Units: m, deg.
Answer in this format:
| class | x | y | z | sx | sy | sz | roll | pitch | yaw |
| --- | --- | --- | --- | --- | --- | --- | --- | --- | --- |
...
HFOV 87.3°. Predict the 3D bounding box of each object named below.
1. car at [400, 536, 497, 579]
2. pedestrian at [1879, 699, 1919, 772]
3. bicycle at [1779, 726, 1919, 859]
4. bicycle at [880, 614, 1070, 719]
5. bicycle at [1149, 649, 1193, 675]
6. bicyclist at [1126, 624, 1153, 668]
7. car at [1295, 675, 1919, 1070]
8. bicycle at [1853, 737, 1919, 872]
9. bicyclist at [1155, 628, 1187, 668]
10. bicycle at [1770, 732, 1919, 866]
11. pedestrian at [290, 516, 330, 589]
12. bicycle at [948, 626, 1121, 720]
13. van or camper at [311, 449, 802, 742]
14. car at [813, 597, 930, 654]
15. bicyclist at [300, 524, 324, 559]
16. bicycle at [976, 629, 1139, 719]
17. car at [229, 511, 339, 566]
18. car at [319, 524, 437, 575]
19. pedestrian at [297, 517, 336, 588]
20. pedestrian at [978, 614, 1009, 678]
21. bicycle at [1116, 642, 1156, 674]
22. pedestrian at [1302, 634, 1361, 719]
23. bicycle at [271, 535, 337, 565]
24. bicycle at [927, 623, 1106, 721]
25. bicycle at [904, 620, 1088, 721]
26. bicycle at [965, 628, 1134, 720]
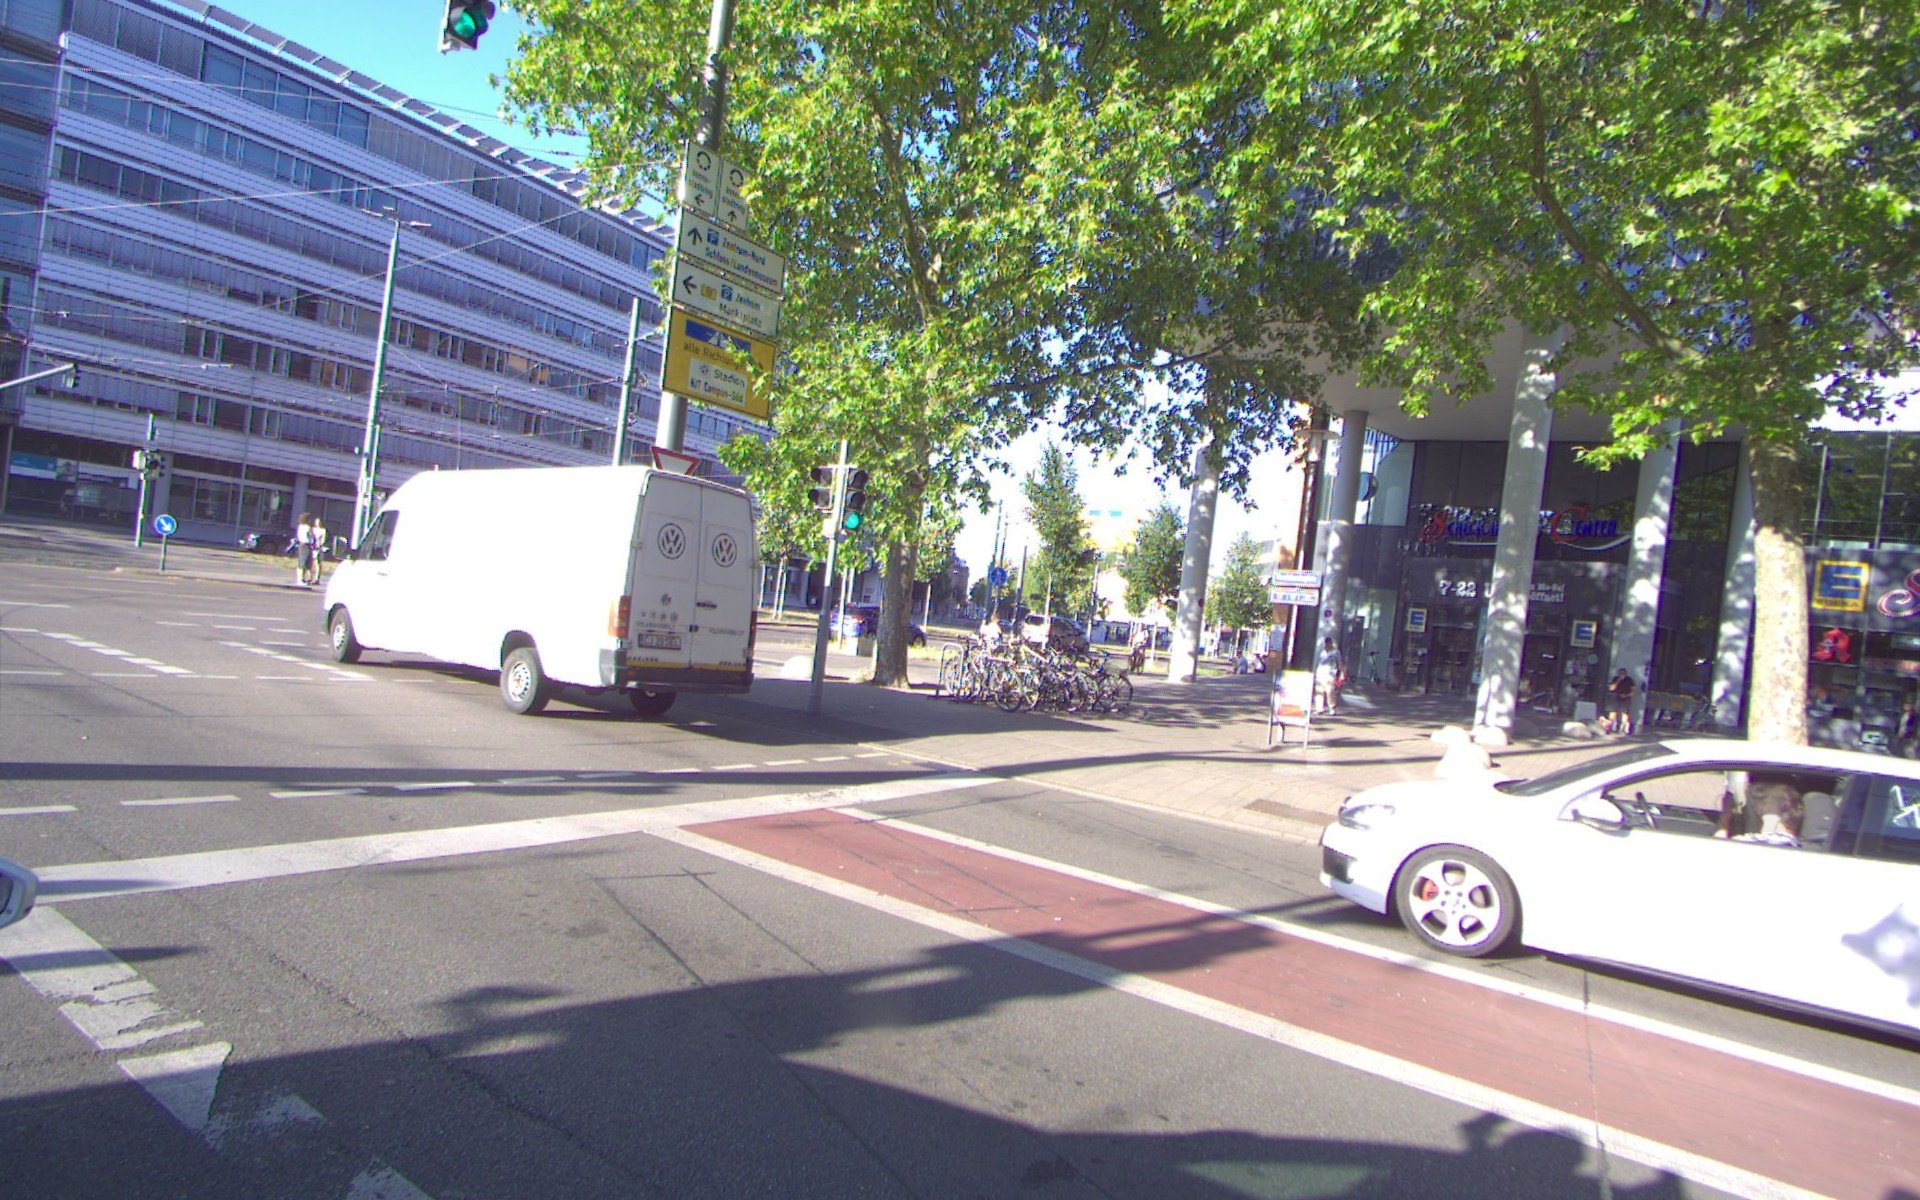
| class | x | y | z | sx | sy | sz | roll | pitch | yaw |
| --- | --- | --- | --- | --- | --- | --- | --- | --- | --- |
| car | -26.384 | -2.165 | 51.960 | 1.769 | 1.569 | 3.990 | 6 | -2 | 36 |
| pedestrian | 24.398 | 3.486 | 25.879 | 0.824 | 1.765 | 0.644 | 7 | 1 | 32 |
| bicycle | 11.502 | 2.405 | 11.007 | 3.757 | 1.235 | 0.727 | 10 | 1 | 38 |
| bicycle | 0.191 | 1.013 | 15.713 | 2.896 | 1.252 | 0.705 | 6 | -1 | 31 |
| bicycle | 8.643 | 2.544 | 41.208 | 0.738 | 0.964 | 2.089 | 7 | 1 | 41 |
| bicyclist | 6.373 | 1.632 | 35.740 | 0.583 | 1.504 | 0.749 | 6 | 2 | 30 |
| car | 4.210 | 1.453 | 5.835 | 3.920 | 1.445 | 1.638 | 7 | -1 | 31 |
| bicycle | 10.161 | 2.088 | 9.445 | 2.514 | 1.234 | 0.756 | 5 | -2 | 37 |
| bicyclist | 8.639 | 1.958 | 41.125 | 0.797 | 1.587 | 1.024 | 5 | 2 | 42 |
| bicycle | 10.887 | 2.263 | 10.433 | 3.759 | 1.234 | 0.756 | 5 | -2 | 38 |
| pedestrian | -16.752 | -1.228 | 25.911 | 0.673 | 1.781 | 0.734 | 6 | 1 | -36 |
| bicycle | 1.262 | 1.247 | 17.544 | 2.896 | 1.252 | 0.705 | 6 | -1 | 31 |
| van or camper | -5.023 | -0.238 | 11.909 | 6.395 | 2.647 | 2.001 | 7 | 0 | 35 |
| car | -2.969 | 0.912 | 34.684 | 1.724 | 1.476 | 4.206 | 7 | -2 | 32 |
| bicyclist | -29.968 | -2.698 | 46.507 | 0.604 | 1.521 | 0.663 | 7 | 1 | 37 |
| bicycle | 1.792 | 1.364 | 18.864 | 2.896 | 1.250 | 0.698 | 6 | -4 | 31 |
| car | -33.902 | -3.052 | 50.541 | 1.967 | 2.037 | 3.995 | 6 | -2 | 32 |
| car | -26.868 | -2.310 | 46.551 | 1.854 | 1.744 | 4.256 | 7 | 0 | 34 |
| pedestrian | -17.099 | -1.269 | 26.709 | 0.679 | 1.781 | 0.734 | 6 | 1 | -37 |
| pedestrian | 0.913 | 1.239 | 27.197 | 0.523 | 1.644 | 0.543 | 7 | 1 | 19 |
| bicycle | 6.241 | 2.037 | 35.591 | 0.592 | 1.028 | 2.190 | 6 | 1 | 30 |
| pedestrian | 8.939 | 1.821 | 24.243 | 0.800 | 1.913 | 0.871 | 5 | 1 | -16 |
| bicycle | -30.156 | -2.289 | 46.304 | 0.627 | 1.035 | 2.410 | 7 | 0 | 36 |
| bicycle | 0.912 | 1.192 | 16.955 | 2.897 | 1.252 | 0.705 | 6 | -1 | 32 |
| bicycle | 0.542 | 1.120 | 16.346 | 2.896 | 1.243 | 0.686 | 6 | -1 | 31 |
| bicycle | 1.570 | 1.308 | 18.125 | 2.896 | 1.252 | 0.705 | 6 | -1 | 31 |
